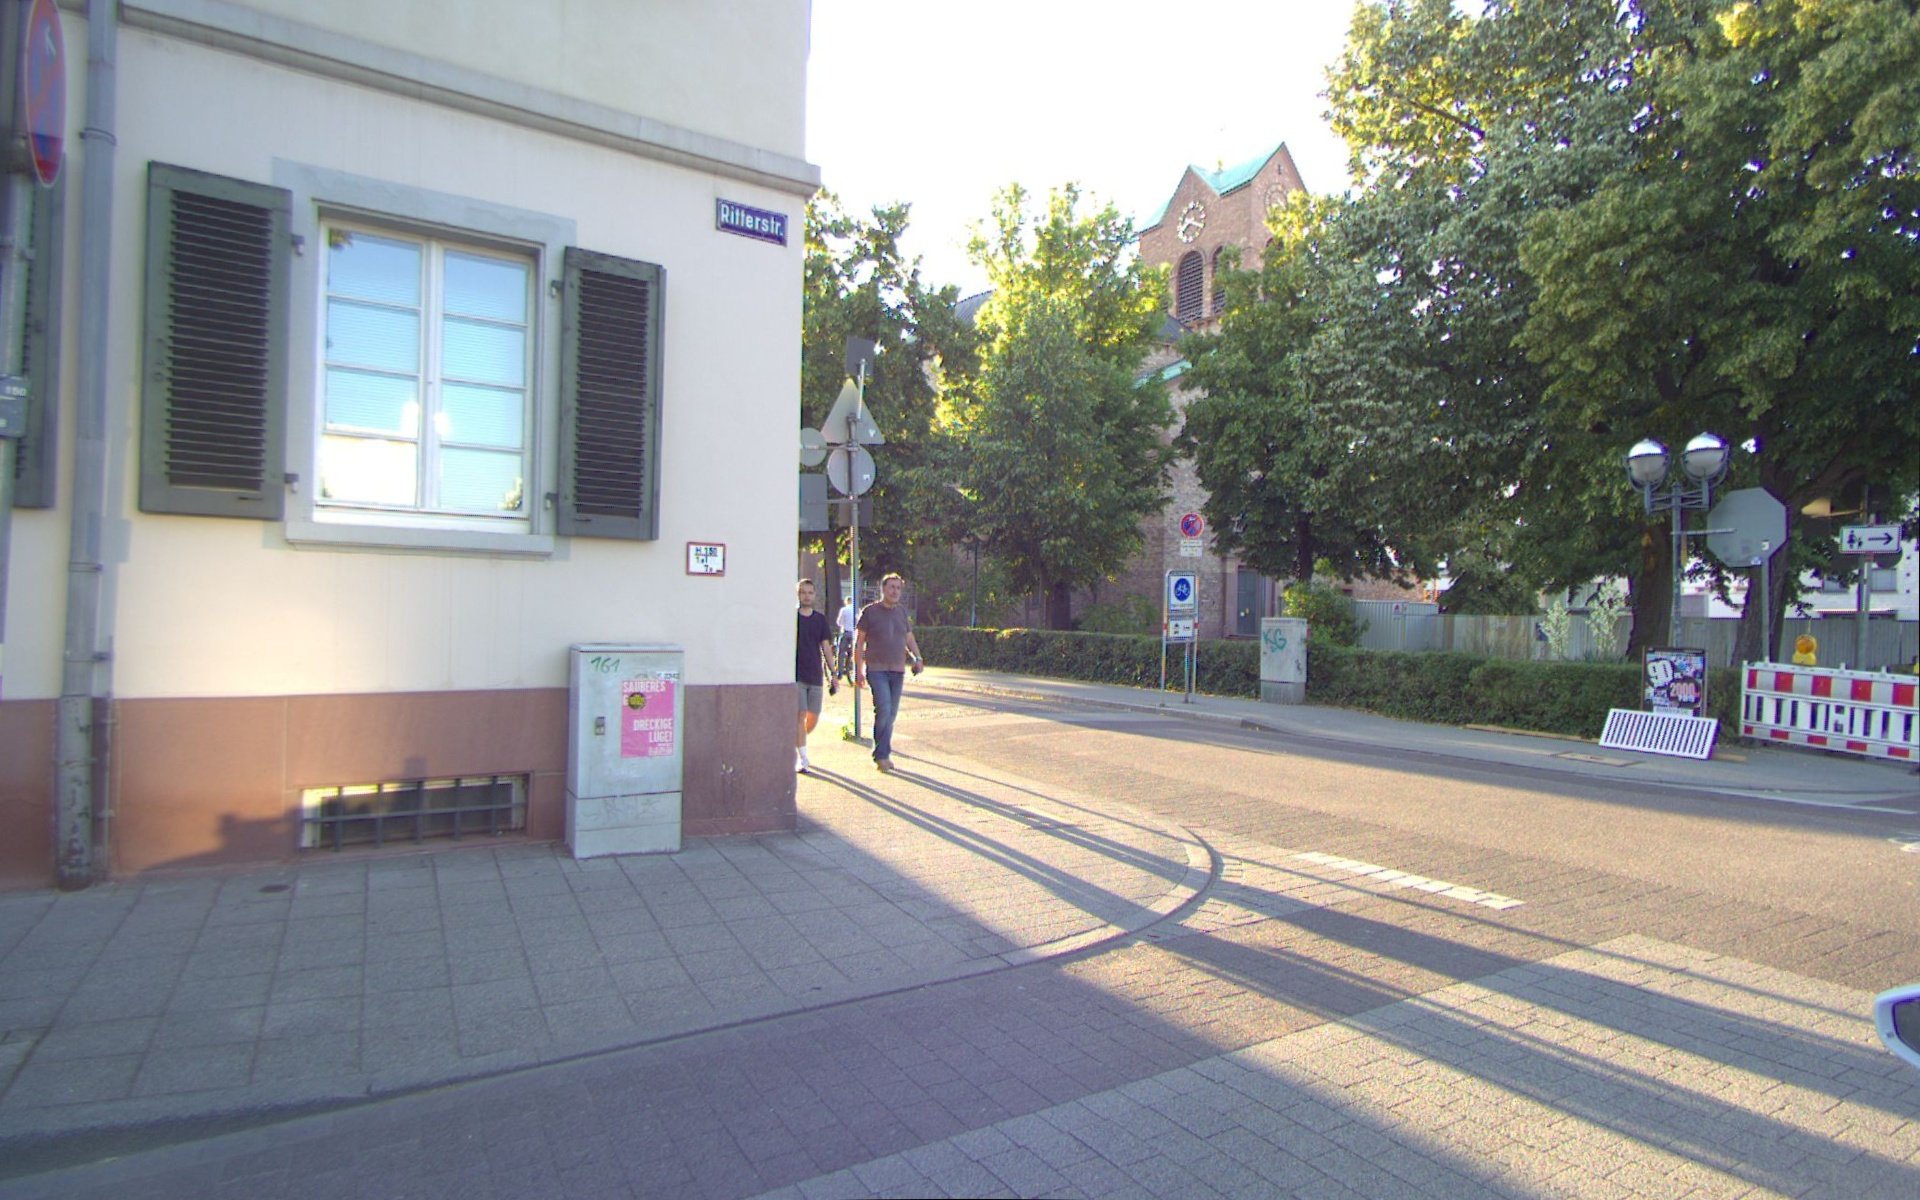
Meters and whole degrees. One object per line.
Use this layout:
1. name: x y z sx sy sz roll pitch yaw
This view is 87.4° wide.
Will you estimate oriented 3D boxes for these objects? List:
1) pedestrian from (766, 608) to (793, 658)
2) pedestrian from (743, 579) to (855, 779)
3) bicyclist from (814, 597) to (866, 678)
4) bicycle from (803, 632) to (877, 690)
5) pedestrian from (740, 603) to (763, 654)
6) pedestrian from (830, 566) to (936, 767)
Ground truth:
1. pedestrian: -6.651 1.215 36.989 0.786 1.849 0.651 2 -1 -29
2. pedestrian: -1.465 0.691 9.099 0.787 1.711 0.651 2 -2 -31
3. bicyclist: -2.528 0.782 21.135 0.591 1.654 1.052 2 -1 -39
4. bicycle: -2.539 1.250 21.103 0.591 1.136 1.912 2 -2 -39
5. pedestrian: -7.618 1.030 36.641 0.782 1.837 0.655 1 -1 -13
6. pedestrian: -0.746 0.626 9.681 0.787 1.838 0.651 2 -2 -31
